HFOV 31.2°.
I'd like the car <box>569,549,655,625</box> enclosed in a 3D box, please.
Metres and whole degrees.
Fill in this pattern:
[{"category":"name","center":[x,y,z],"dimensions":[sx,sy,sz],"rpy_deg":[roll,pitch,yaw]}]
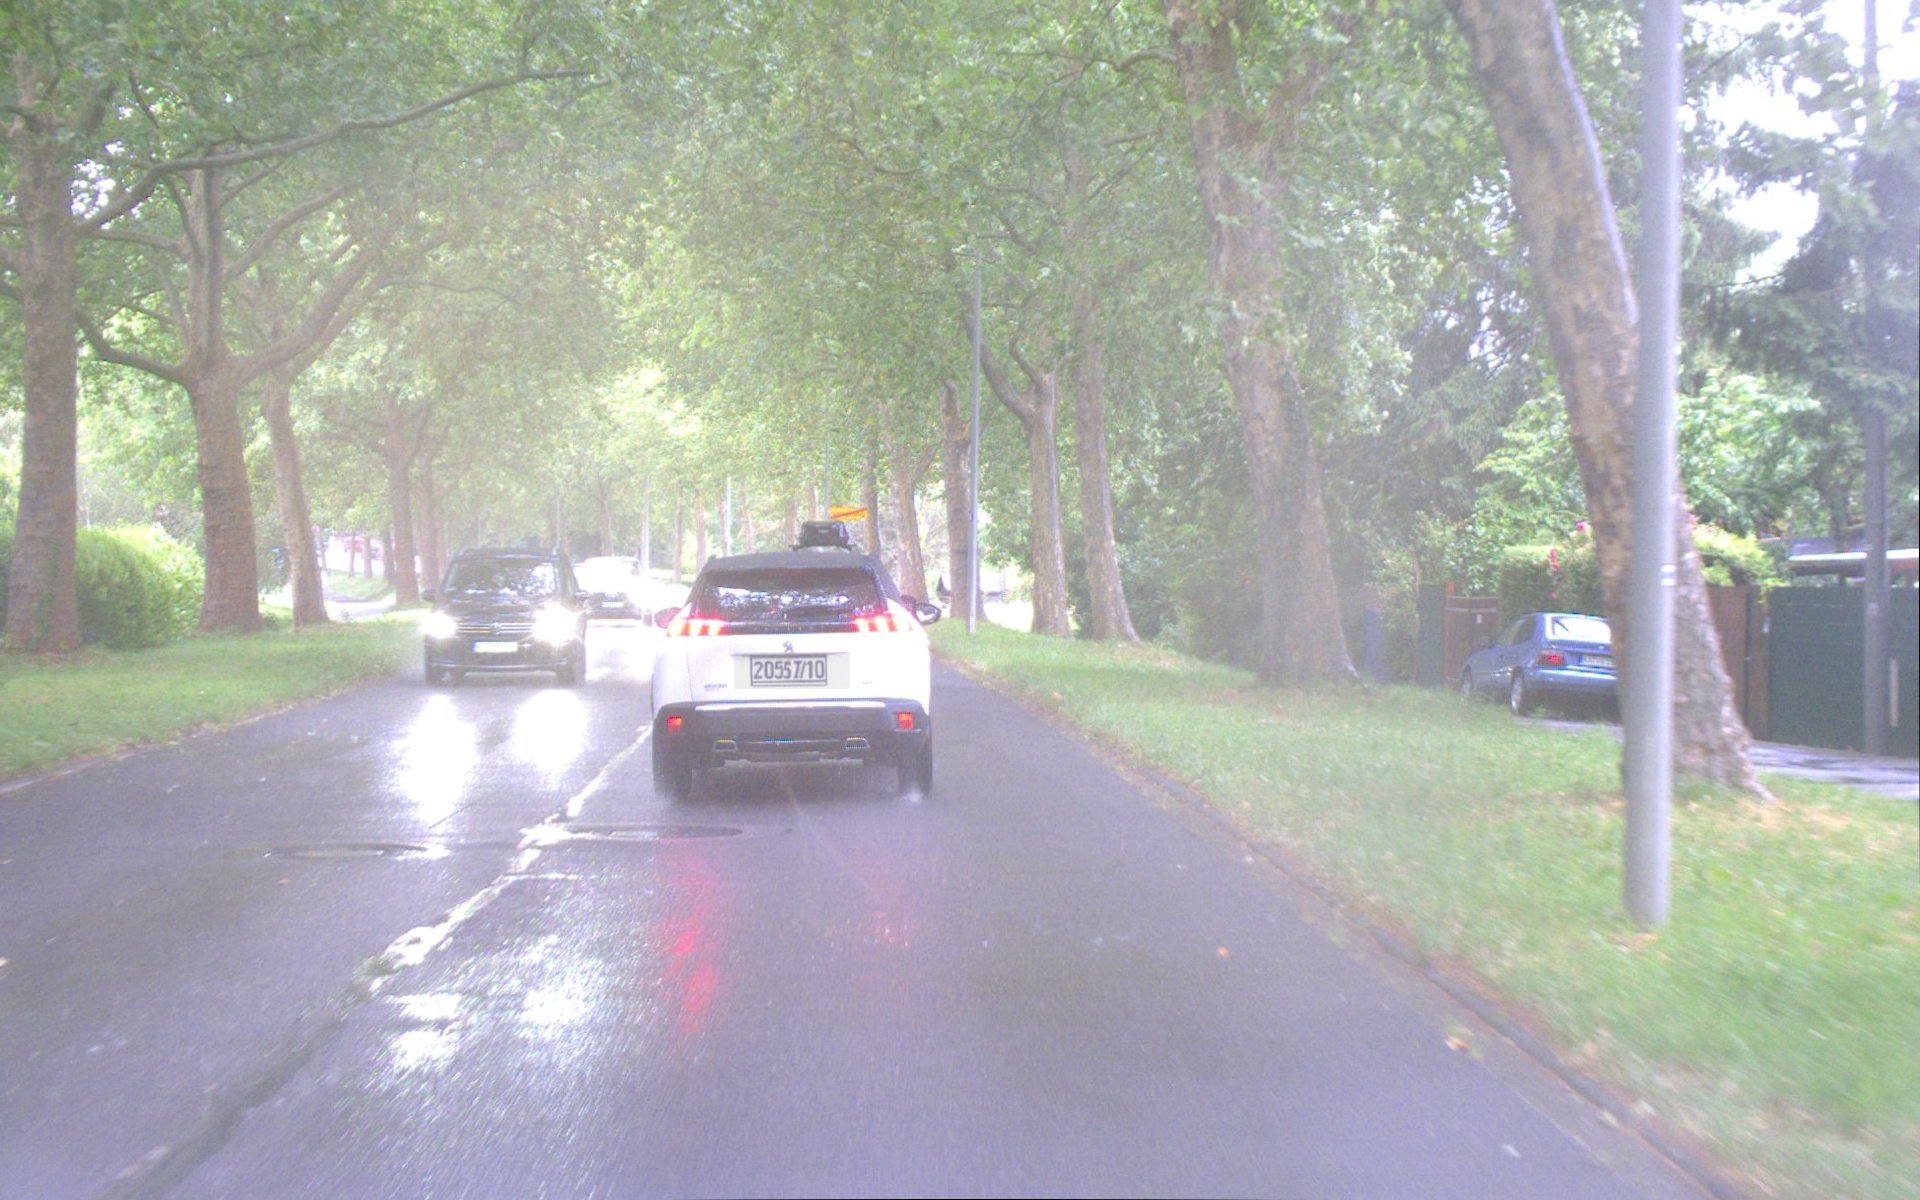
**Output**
[{"category":"car","center":[-8.240,-0.319,81.722],"dimensions":[1.808,1.722,4.455],"rpy_deg":[1,1,-3]}]

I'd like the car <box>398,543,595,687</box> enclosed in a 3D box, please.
[{"category":"car","center":[-5.639,0.154,42.363],"dimensions":[1.818,1.649,4.774],"rpy_deg":[1,1,-1]}]

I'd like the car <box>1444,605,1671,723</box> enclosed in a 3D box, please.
[{"category":"car","center":[7.877,0.813,45.662],"dimensions":[1.795,1.321,4.001],"rpy_deg":[5,0,-7]}]

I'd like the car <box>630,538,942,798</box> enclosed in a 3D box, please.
[{"category":"car","center":[-1.242,0.397,22.875],"dimensions":[1.793,1.573,3.845],"rpy_deg":[1,1,-7]}]
